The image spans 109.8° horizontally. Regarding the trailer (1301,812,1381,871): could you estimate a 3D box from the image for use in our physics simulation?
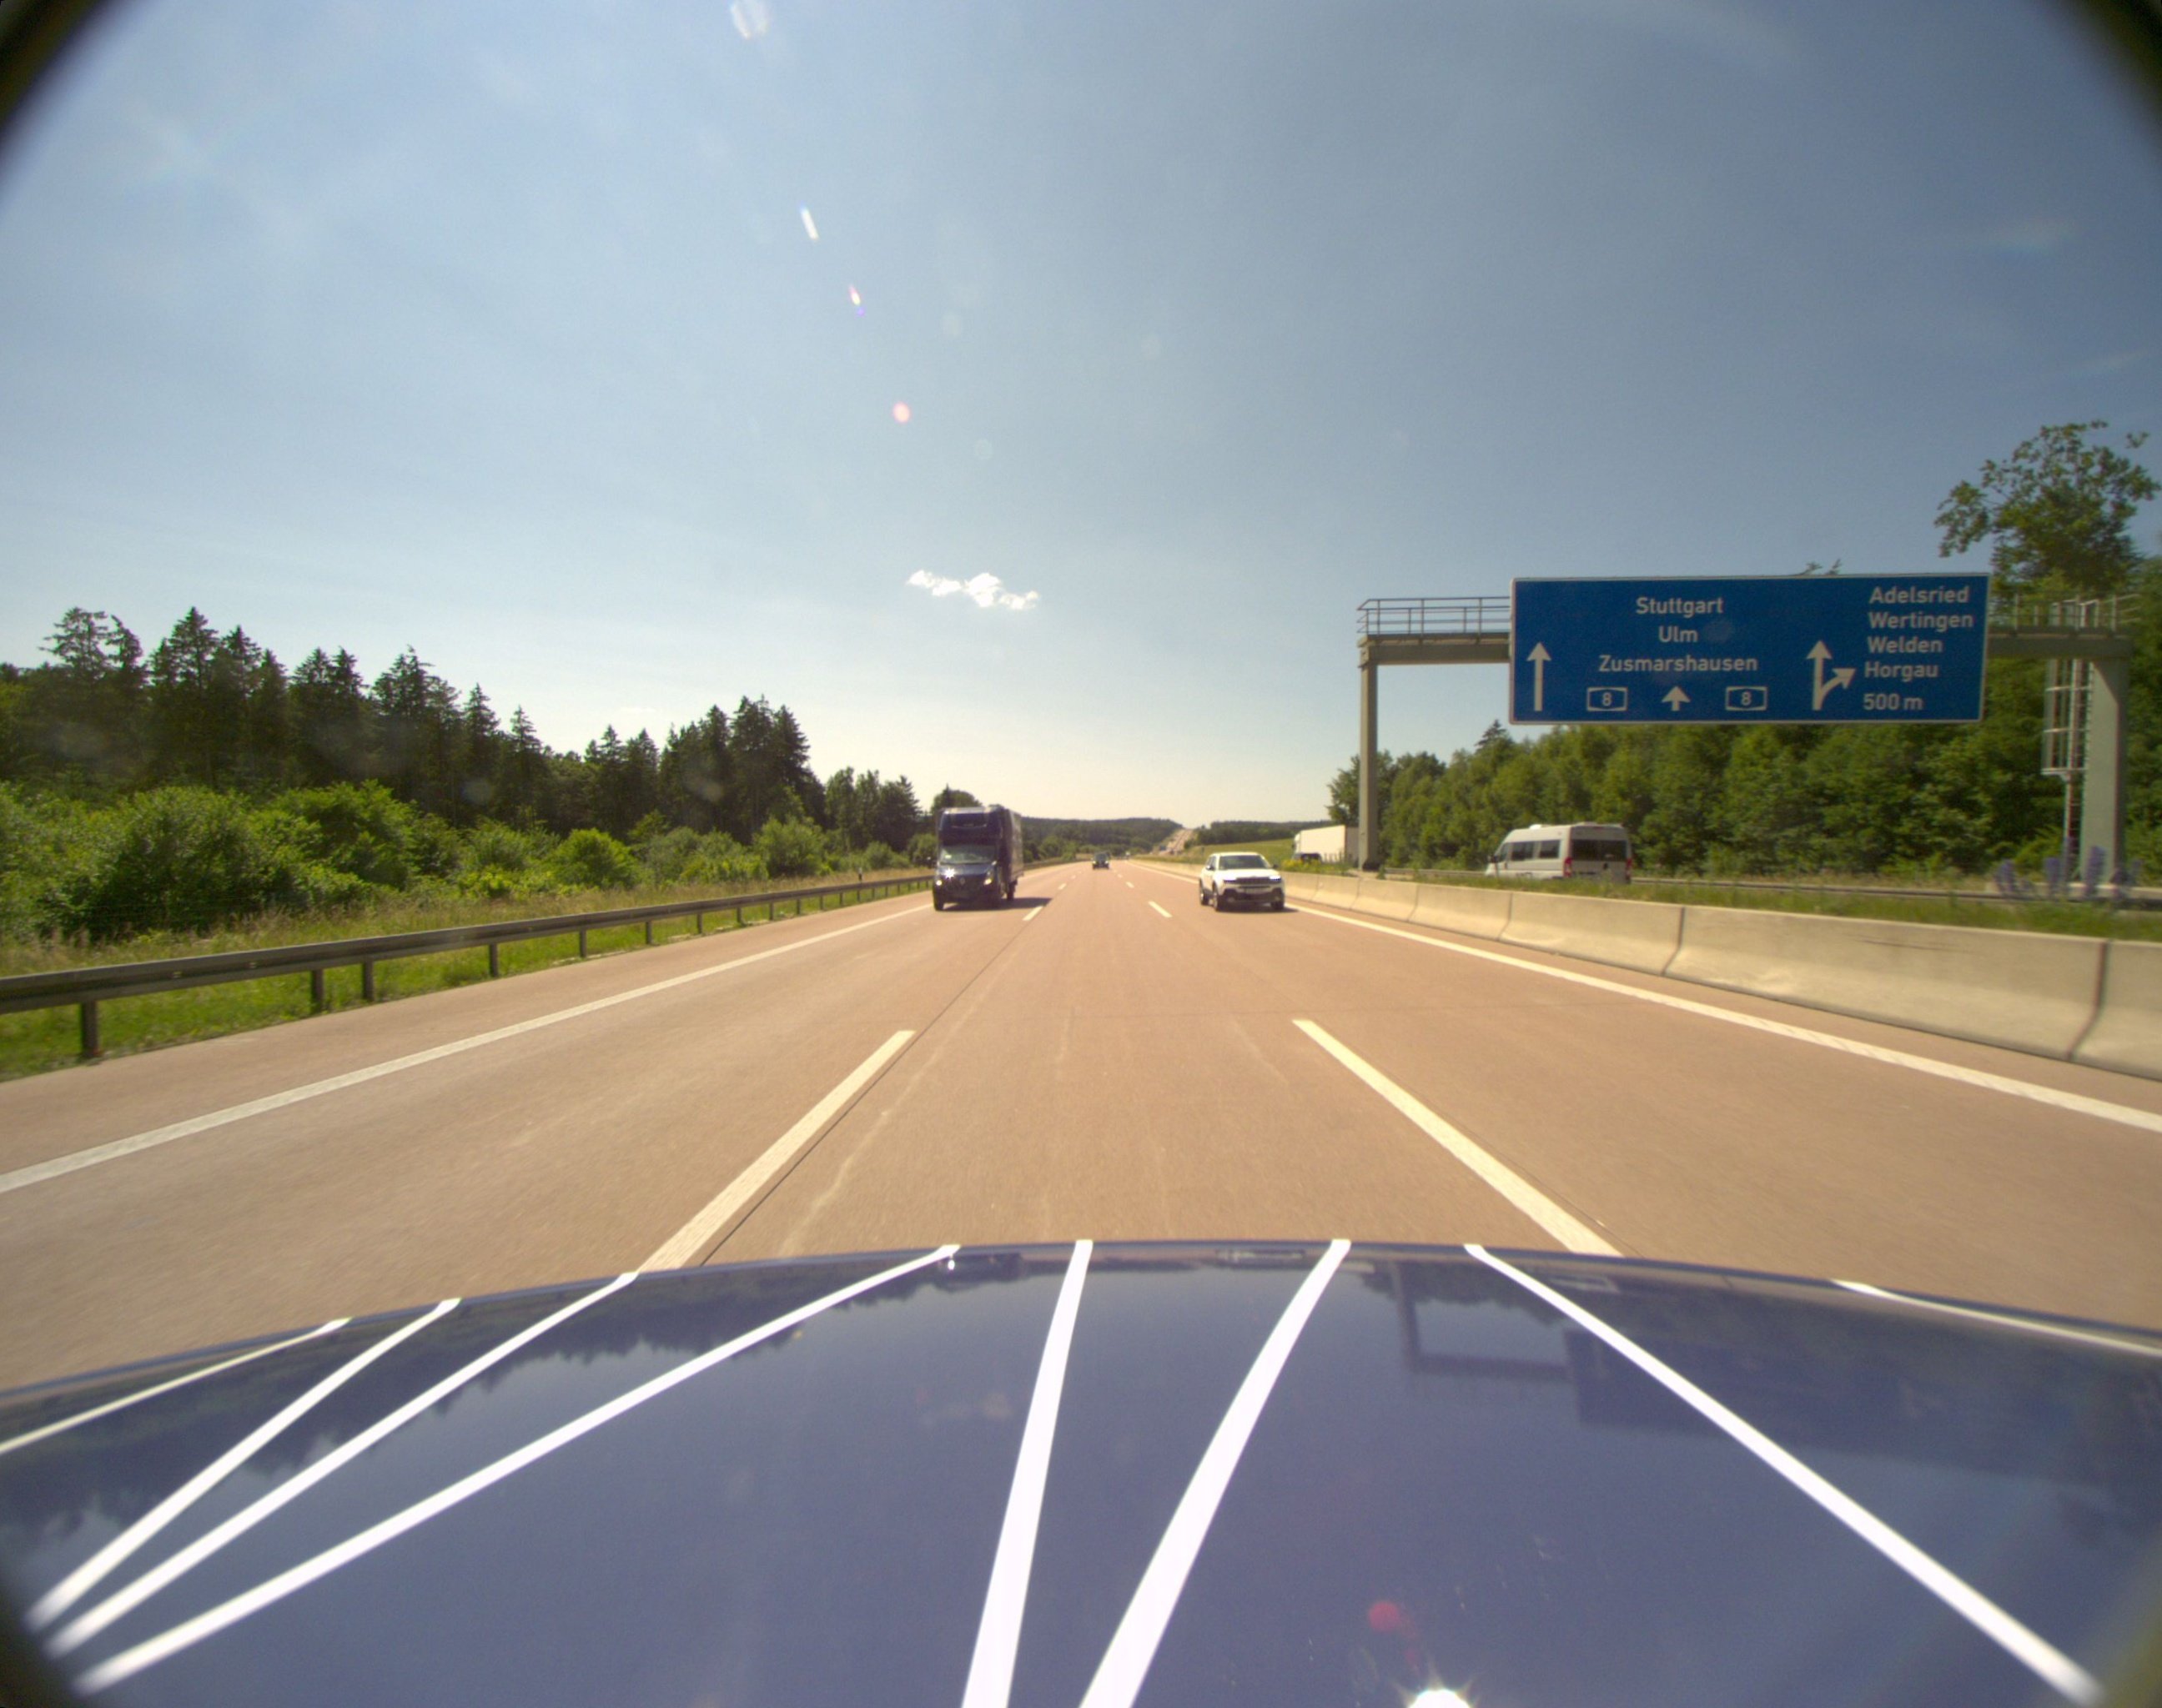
[{"bbox_3d":[21.598,-0.933,64.119,2.709,4.408,13.193,-1,0,2],"label":"trailer"}]

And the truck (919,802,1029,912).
[{"bbox_3d":[-3.438,0.086,26.448,2.508,3.199,7.784,-1,0,1],"label":"truck"}]

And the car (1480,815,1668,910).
[{"bbox_3d":[15.852,0.245,25.013,2.238,2.670,6.097,-1,0,0],"label":"car"}]

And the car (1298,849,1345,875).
[{"bbox_3d":[16.459,0.543,52.160,1.895,1.645,4.000,-1,0,0],"label":"car"}]

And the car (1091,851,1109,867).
[{"bbox_3d":[2.221,0.564,89.114,1.998,1.805,4.565,-1,0,2],"label":"car"}]

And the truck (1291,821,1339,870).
[{"bbox_3d":[21.854,-0.788,71.309,2.709,4.355,6.478,-1,0,2],"label":"truck"}]

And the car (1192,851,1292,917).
[{"bbox_3d":[4.361,0.739,21.319,1.883,1.598,4.834,-1,0,2],"label":"car"}]
